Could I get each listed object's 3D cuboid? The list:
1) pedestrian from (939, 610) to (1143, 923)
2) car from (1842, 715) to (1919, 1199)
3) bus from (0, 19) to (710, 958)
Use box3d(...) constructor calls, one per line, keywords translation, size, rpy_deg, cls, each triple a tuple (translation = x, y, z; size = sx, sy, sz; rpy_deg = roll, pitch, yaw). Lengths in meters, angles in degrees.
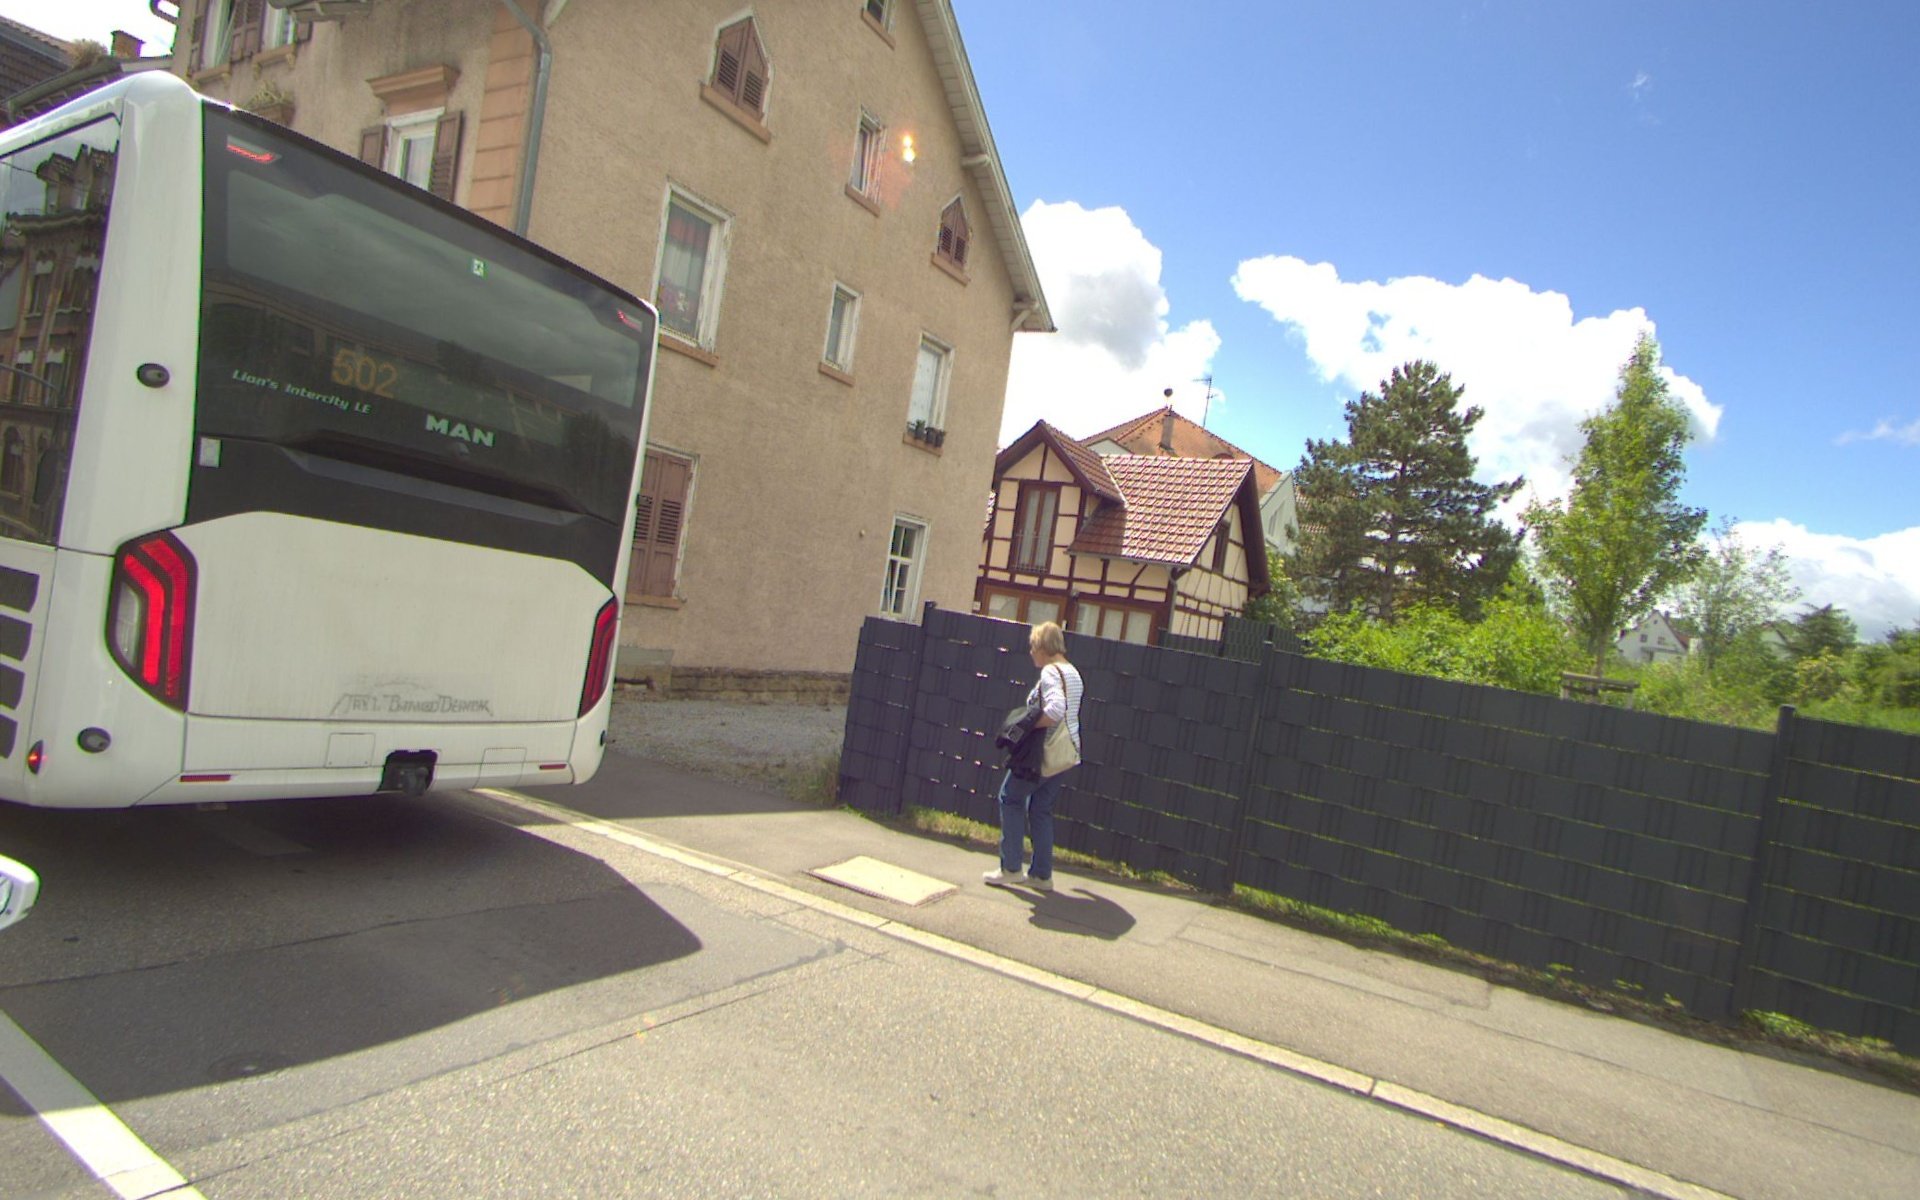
box3d(translation=(0.484, 0.903, 5.803), size=(0.700, 1.581, 0.860), rpy_deg=(7, 1, 31), cls="pedestrian")
box3d(translation=(3.702, 1.237, 0.468), size=(4.605, 1.631, 1.924), rpy_deg=(7, -2, 32), cls="car")
box3d(translation=(-7.469, -0.857, 7.776), size=(12.255, 3.192, 2.678), rpy_deg=(7, -2, 32), cls="bus")
